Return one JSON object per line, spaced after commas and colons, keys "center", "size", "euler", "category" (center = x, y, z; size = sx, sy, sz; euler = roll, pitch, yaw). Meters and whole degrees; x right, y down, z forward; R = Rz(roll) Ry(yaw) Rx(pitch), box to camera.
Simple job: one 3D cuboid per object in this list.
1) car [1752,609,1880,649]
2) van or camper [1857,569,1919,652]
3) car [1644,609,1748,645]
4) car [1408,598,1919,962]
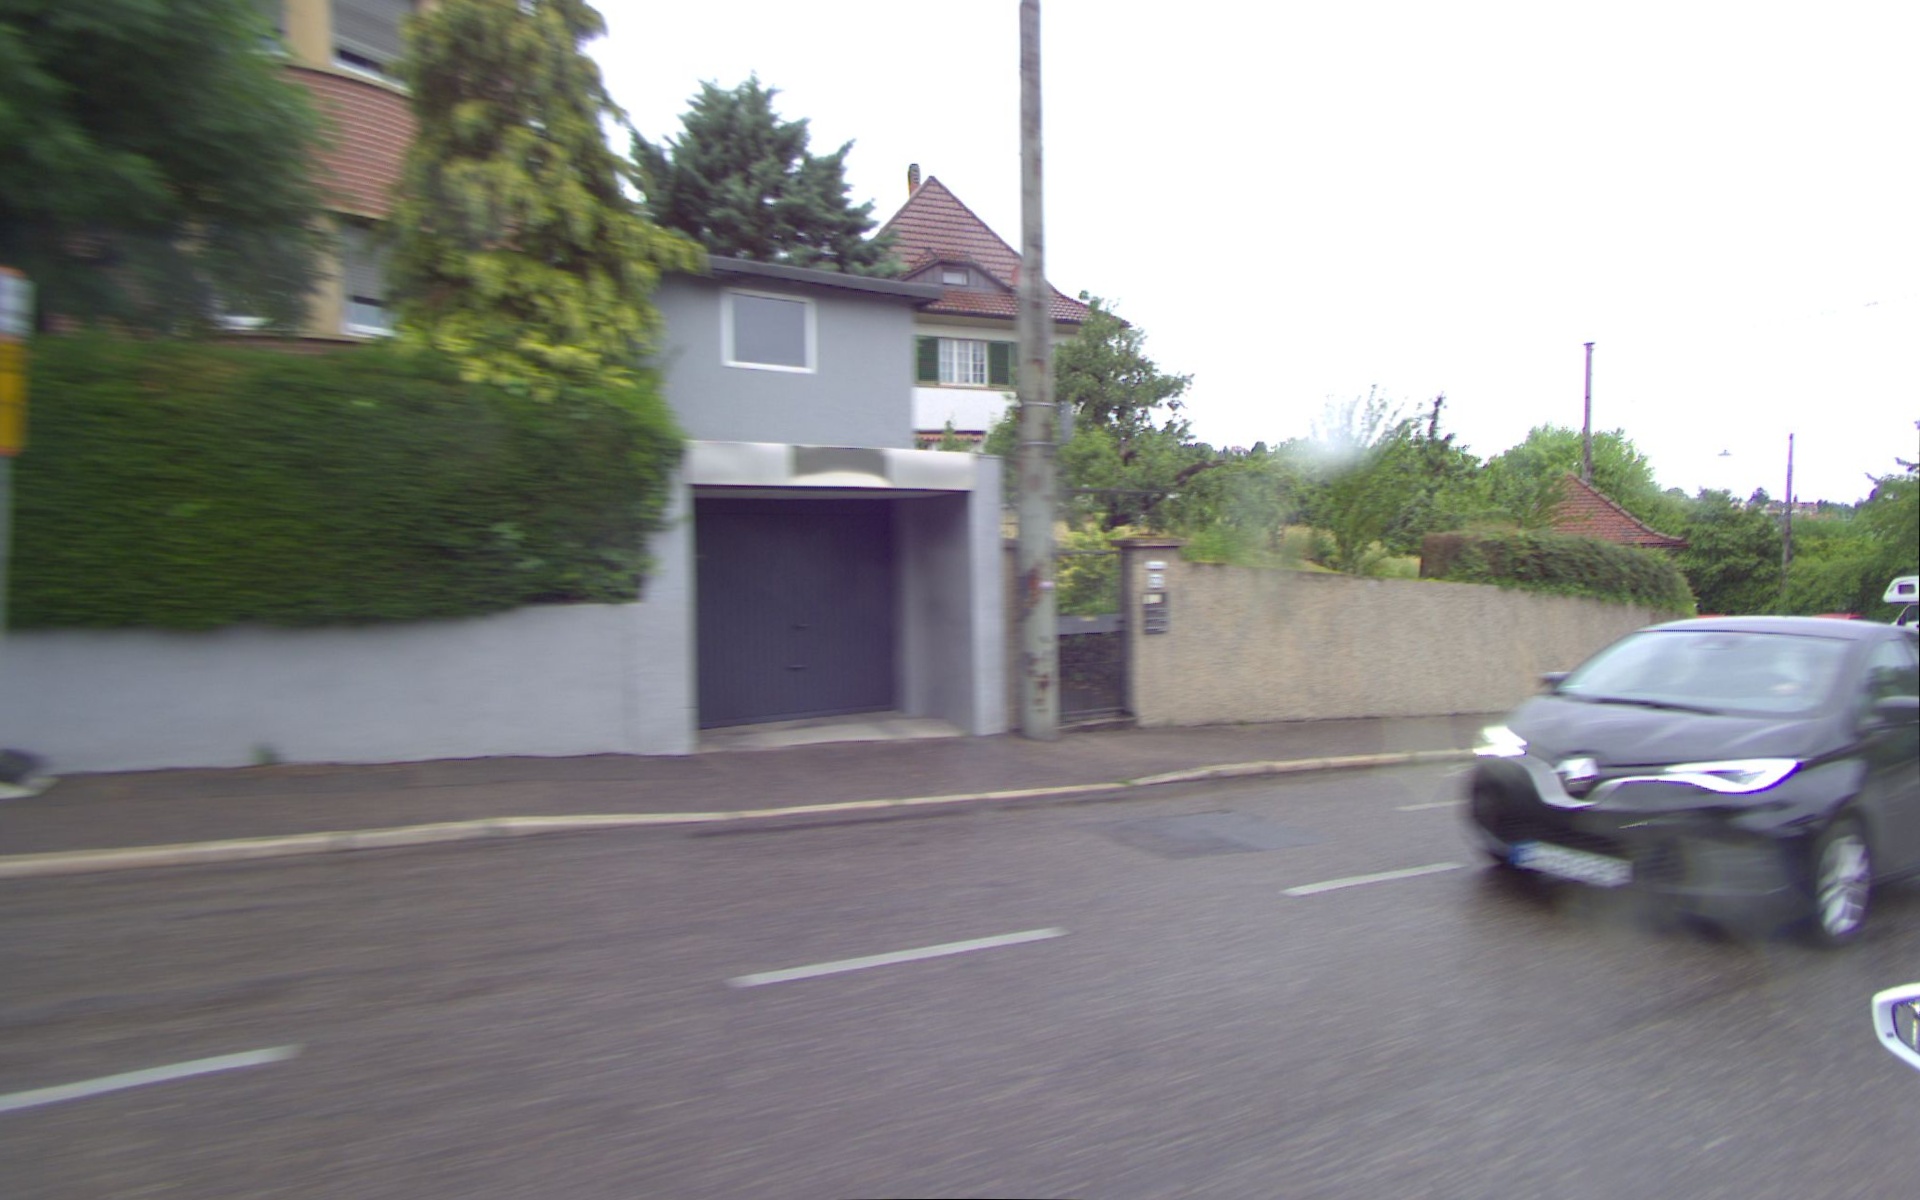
{"center": [36.063, 1.205, 42.443], "size": [1.620, 1.480, 3.792], "euler": [-4, 0, -18], "category": "car"}
{"center": [36.633, 0.357, 36.514], "size": [2.350, 2.983, 6.282], "euler": [-4, 0, 2], "category": "van or camper"}
{"center": [34.540, 1.250, 47.251], "size": [1.541, 1.533, 3.655], "euler": [-4, 1, -23], "category": "car"}
{"center": [4.720, 0.792, 6.055], "size": [3.929, 1.541, 1.758], "euler": [1, 0, -31], "category": "car"}
